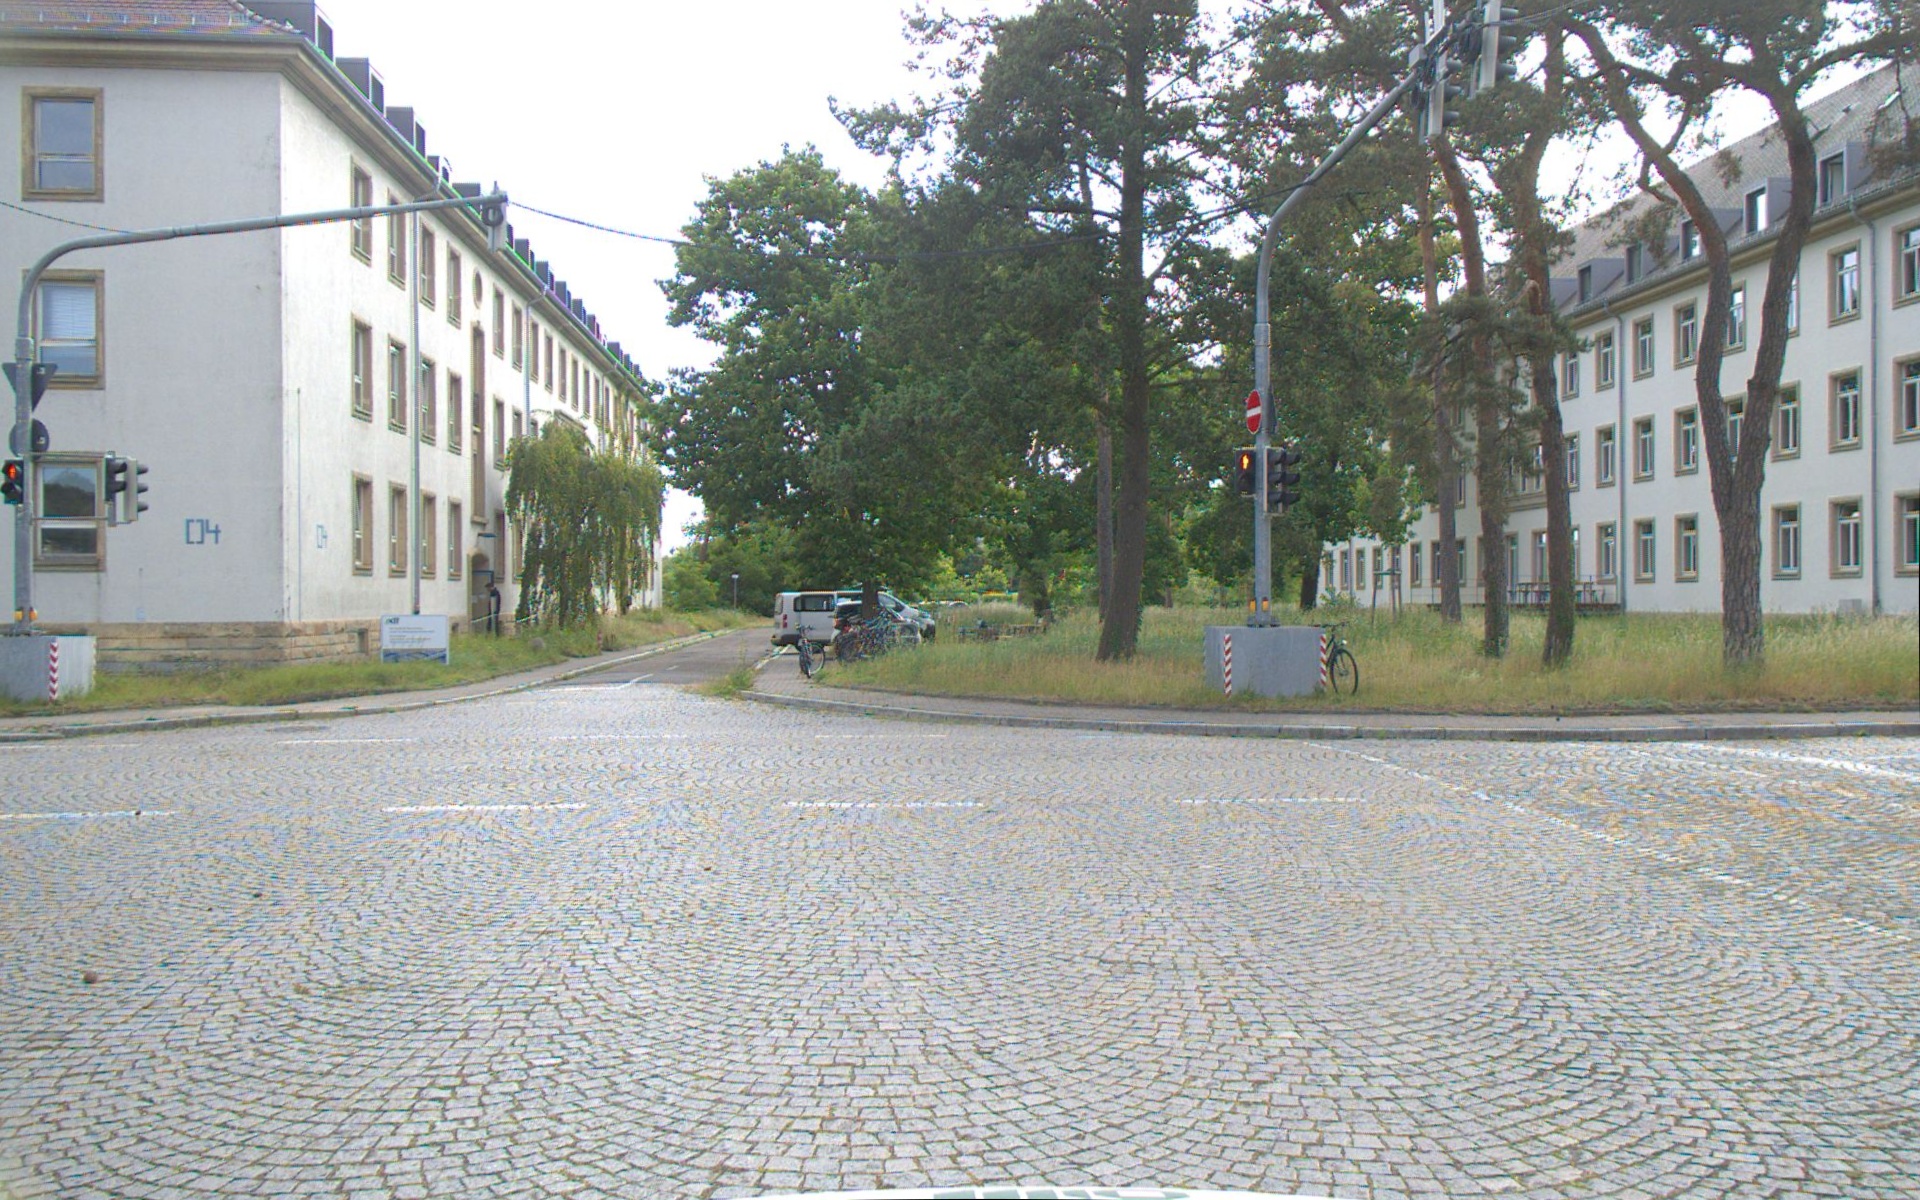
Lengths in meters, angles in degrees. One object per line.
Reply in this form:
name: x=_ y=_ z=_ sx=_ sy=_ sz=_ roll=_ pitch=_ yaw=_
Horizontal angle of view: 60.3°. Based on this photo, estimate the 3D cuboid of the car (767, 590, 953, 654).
car: x=-3.214 y=0.677 z=52.802 sx=5.600 sy=1.944 sz=2.220 roll=0 pitch=0 yaw=-16

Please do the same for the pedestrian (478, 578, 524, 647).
pedestrian: x=-13.786 y=0.378 z=49.669 sx=1.064 sy=2.049 sz=1.022 roll=0 pitch=0 yaw=1

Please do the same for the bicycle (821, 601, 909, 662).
bicycle: x=-2.224 y=0.732 z=38.585 sx=2.028 sy=1.402 sz=0.619 roll=0 pitch=0 yaw=-4

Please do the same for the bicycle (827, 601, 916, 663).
bicycle: x=-2.027 y=0.729 z=37.859 sx=2.028 sy=1.402 sz=0.619 roll=0 pitch=0 yaw=-4

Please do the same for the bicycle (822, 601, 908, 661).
bicycle: x=-2.259 y=0.740 z=39.331 sx=2.028 sy=1.402 sz=0.619 roll=0 pitch=0 yaw=-4

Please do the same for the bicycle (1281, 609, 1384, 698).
bicycle: x=5.190 y=0.724 z=23.172 sx=0.891 sy=1.197 sz=1.872 roll=0 pitch=0 yaw=-5

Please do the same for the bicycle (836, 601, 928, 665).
bicycle: x=-1.752 y=0.729 z=37.078 sx=2.028 sy=1.402 sz=0.619 roll=0 pitch=0 yaw=-4

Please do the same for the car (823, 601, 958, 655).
car: x=-2.116 y=0.815 z=49.501 sx=3.859 sy=1.571 sz=1.996 roll=0 pitch=0 yaw=-9

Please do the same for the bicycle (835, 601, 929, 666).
bicycle: x=-1.707 y=0.722 z=36.283 sx=2.028 sy=1.402 sz=0.619 roll=0 pitch=0 yaw=-4

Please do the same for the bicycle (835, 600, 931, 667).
bicycle: x=-1.662 y=0.716 z=35.660 sx=2.028 sy=1.402 sz=0.619 roll=0 pitch=0 yaw=-4

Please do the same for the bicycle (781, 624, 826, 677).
bicycle: x=-3.114 y=0.993 z=33.087 sx=0.605 sy=0.980 sz=2.077 roll=0 pitch=0 yaw=3

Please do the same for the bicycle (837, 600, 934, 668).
bicycle: x=-1.575 y=0.712 z=34.995 sx=2.028 sy=1.402 sz=0.619 roll=0 pitch=0 yaw=-4
